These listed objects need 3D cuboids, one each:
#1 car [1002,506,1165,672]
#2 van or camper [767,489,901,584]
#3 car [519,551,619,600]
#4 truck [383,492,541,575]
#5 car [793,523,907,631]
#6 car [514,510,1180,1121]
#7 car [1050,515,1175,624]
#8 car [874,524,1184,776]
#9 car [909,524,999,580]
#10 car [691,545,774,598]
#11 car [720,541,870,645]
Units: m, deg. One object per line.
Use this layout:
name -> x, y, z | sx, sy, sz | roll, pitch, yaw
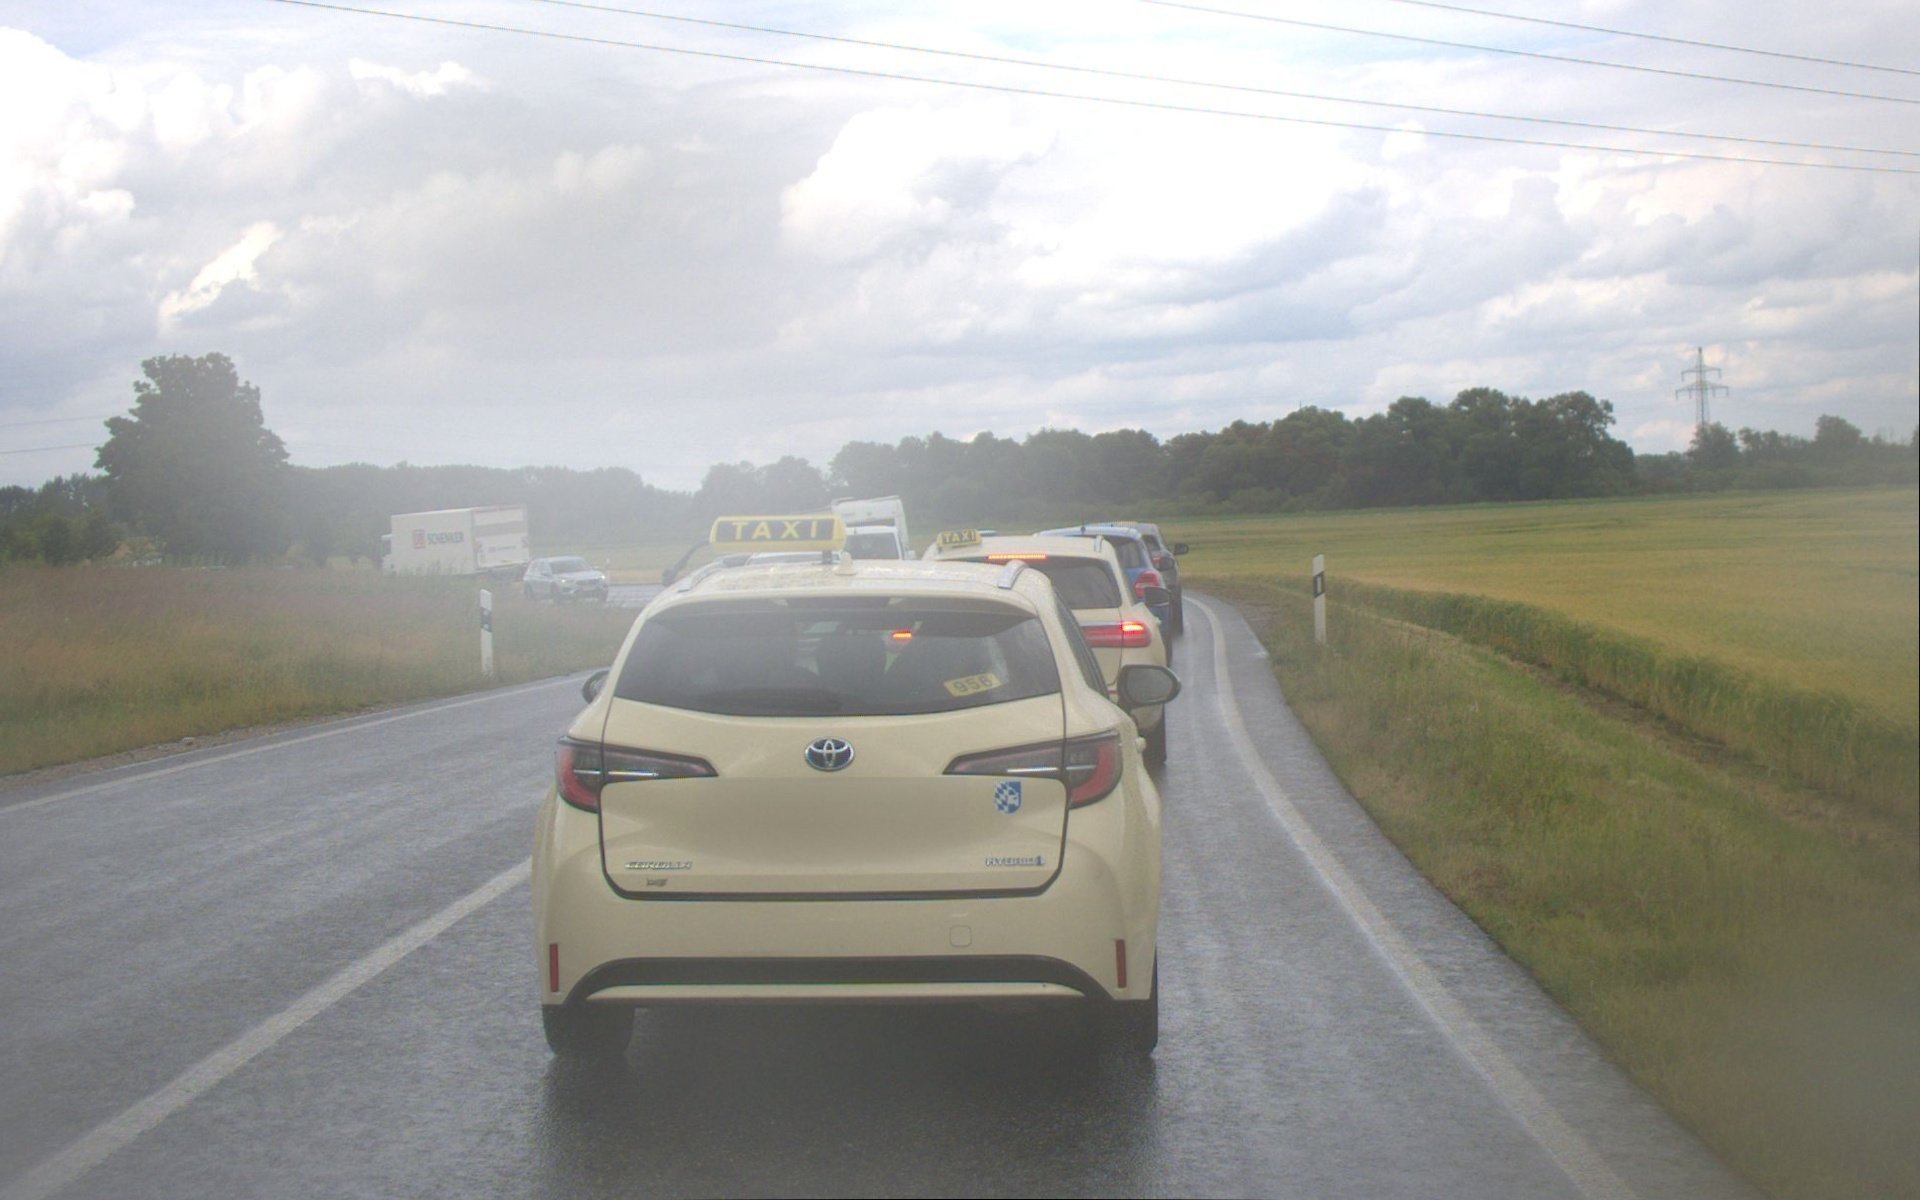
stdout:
car -> 1.353, -0.101, 36.343 | 1.613, 1.653, 3.738 | 0, 0, 4
van or camper -> -4.039, -1.989, 108.461 | 2.536, 2.886, 6.745 | 0, 1, -17
car -> -13.700, -0.855, 120.275 | 1.928, 1.626, 4.721 | -2, 1, -26
truck -> -20.344, -2.666, 140.006 | 3.014, 3.198, 8.231 | 1, 0, -35
car -> -1.946, -0.415, 61.770 | 1.844, 1.849, 4.447 | 0, 1, 1
car -> -0.179, 0.558, 10.740 | 1.613, 1.557, 3.737 | 0, 0, 5
car -> 2.085, -0.386, 46.638 | 1.613, 1.408, 3.738 | 0, 0, 3
car -> 0.486, 0.261, 22.811 | 1.841, 1.487, 4.608 | 0, 1, 2
car -> -0.176, -1.270, 91.407 | 1.783, 1.408, 3.739 | 0, 0, -10
car -> -6.604, -0.822, 99.499 | 1.848, 1.443, 4.092 | -2, 1, -11
car -> -2.265, -0.114, 48.131 | 1.844, 1.383, 4.287 | 0, 1, 1
